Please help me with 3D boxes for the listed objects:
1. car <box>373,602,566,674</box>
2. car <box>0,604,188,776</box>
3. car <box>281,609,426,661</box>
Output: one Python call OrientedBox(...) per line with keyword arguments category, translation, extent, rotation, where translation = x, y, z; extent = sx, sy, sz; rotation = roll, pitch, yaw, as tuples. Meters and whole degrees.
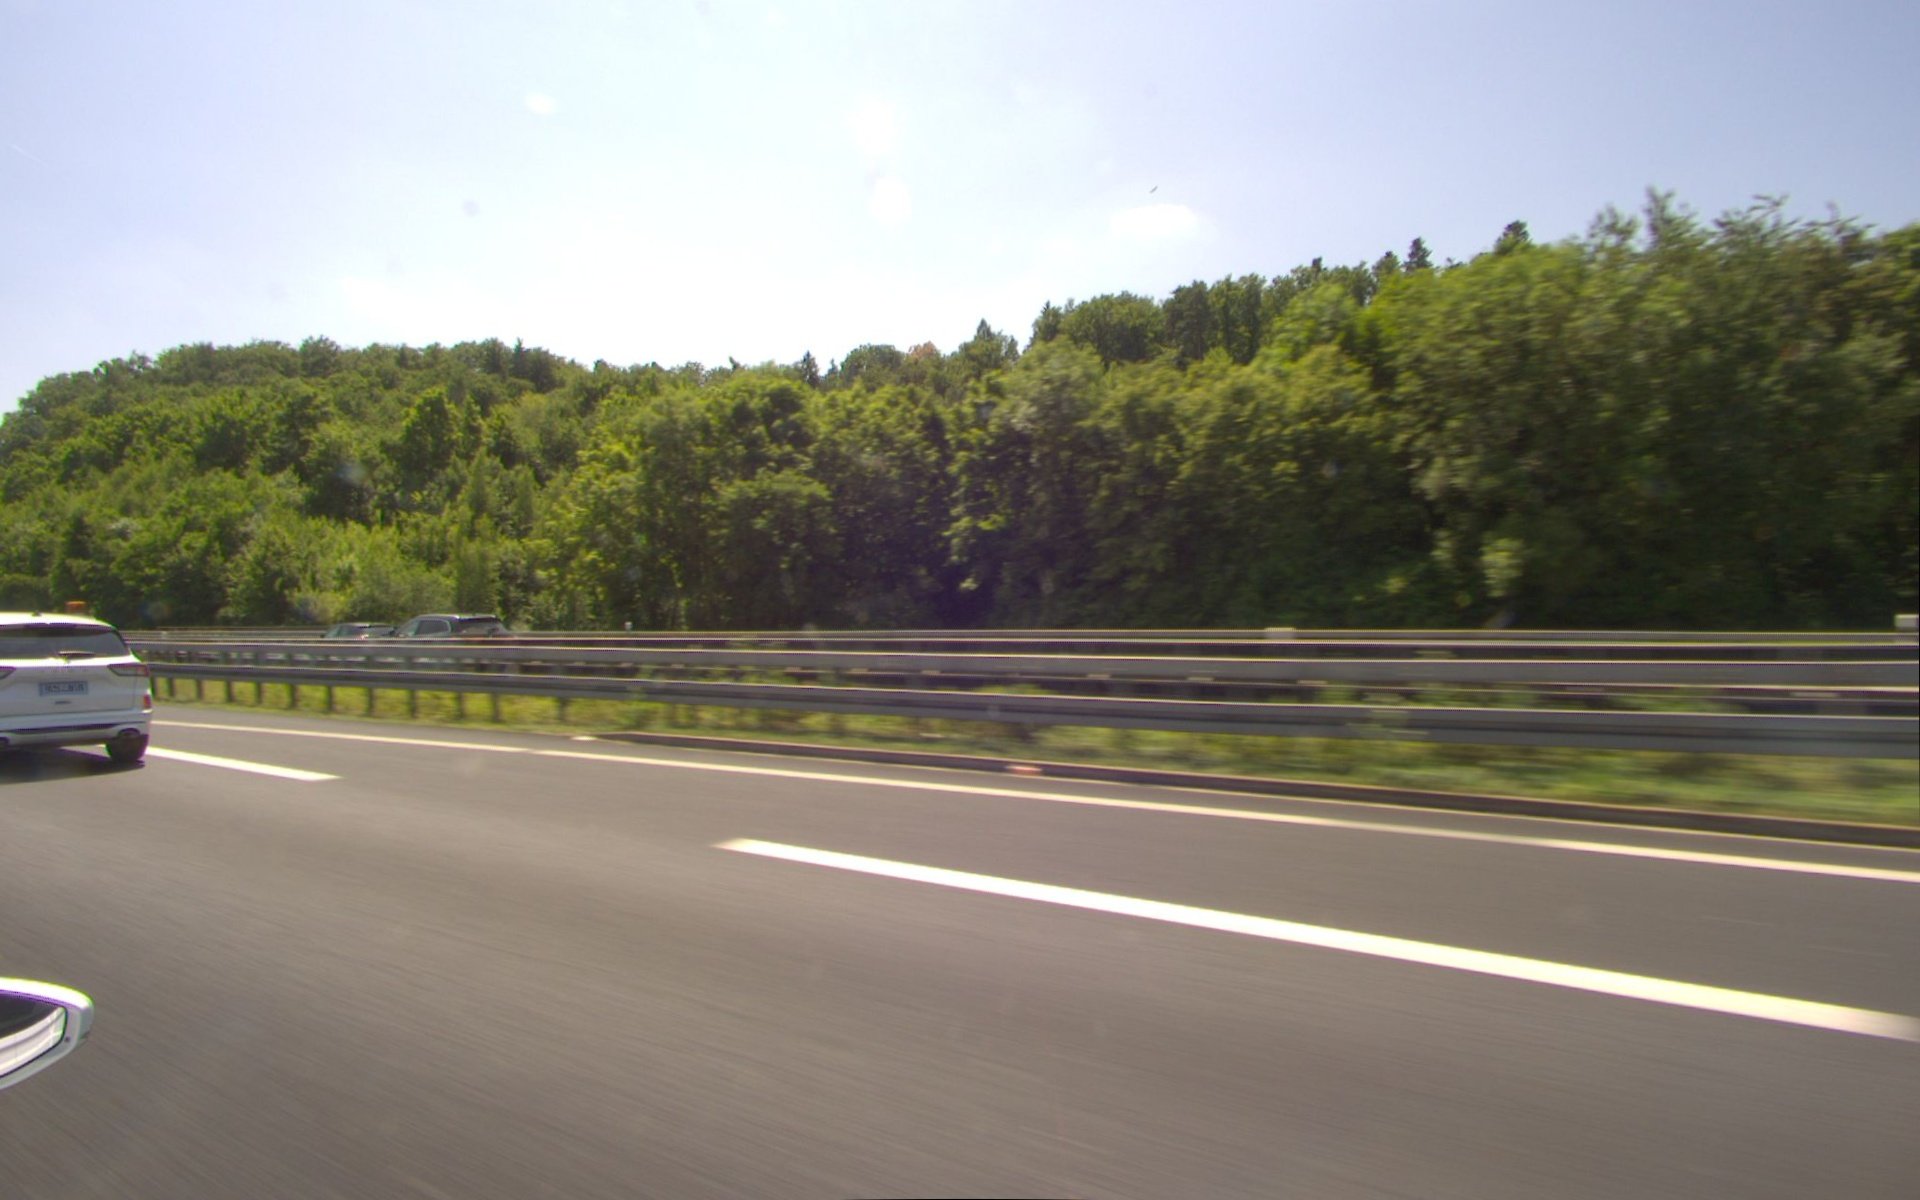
OrientedBox(category="car", translation=(-12.651, 0.967, 25.687), extent=(5.551, 1.683, 1.988), rotation=(-2, -1, 35))
OrientedBox(category="car", translation=(-10.907, 0.939, 11.433), extent=(4.405, 1.683, 1.989), rotation=(-2, -1, 33))
OrientedBox(category="car", translation=(-21.125, 1.191, 34.837), extent=(5.147, 1.684, 1.992), rotation=(-1, 0, 28))
